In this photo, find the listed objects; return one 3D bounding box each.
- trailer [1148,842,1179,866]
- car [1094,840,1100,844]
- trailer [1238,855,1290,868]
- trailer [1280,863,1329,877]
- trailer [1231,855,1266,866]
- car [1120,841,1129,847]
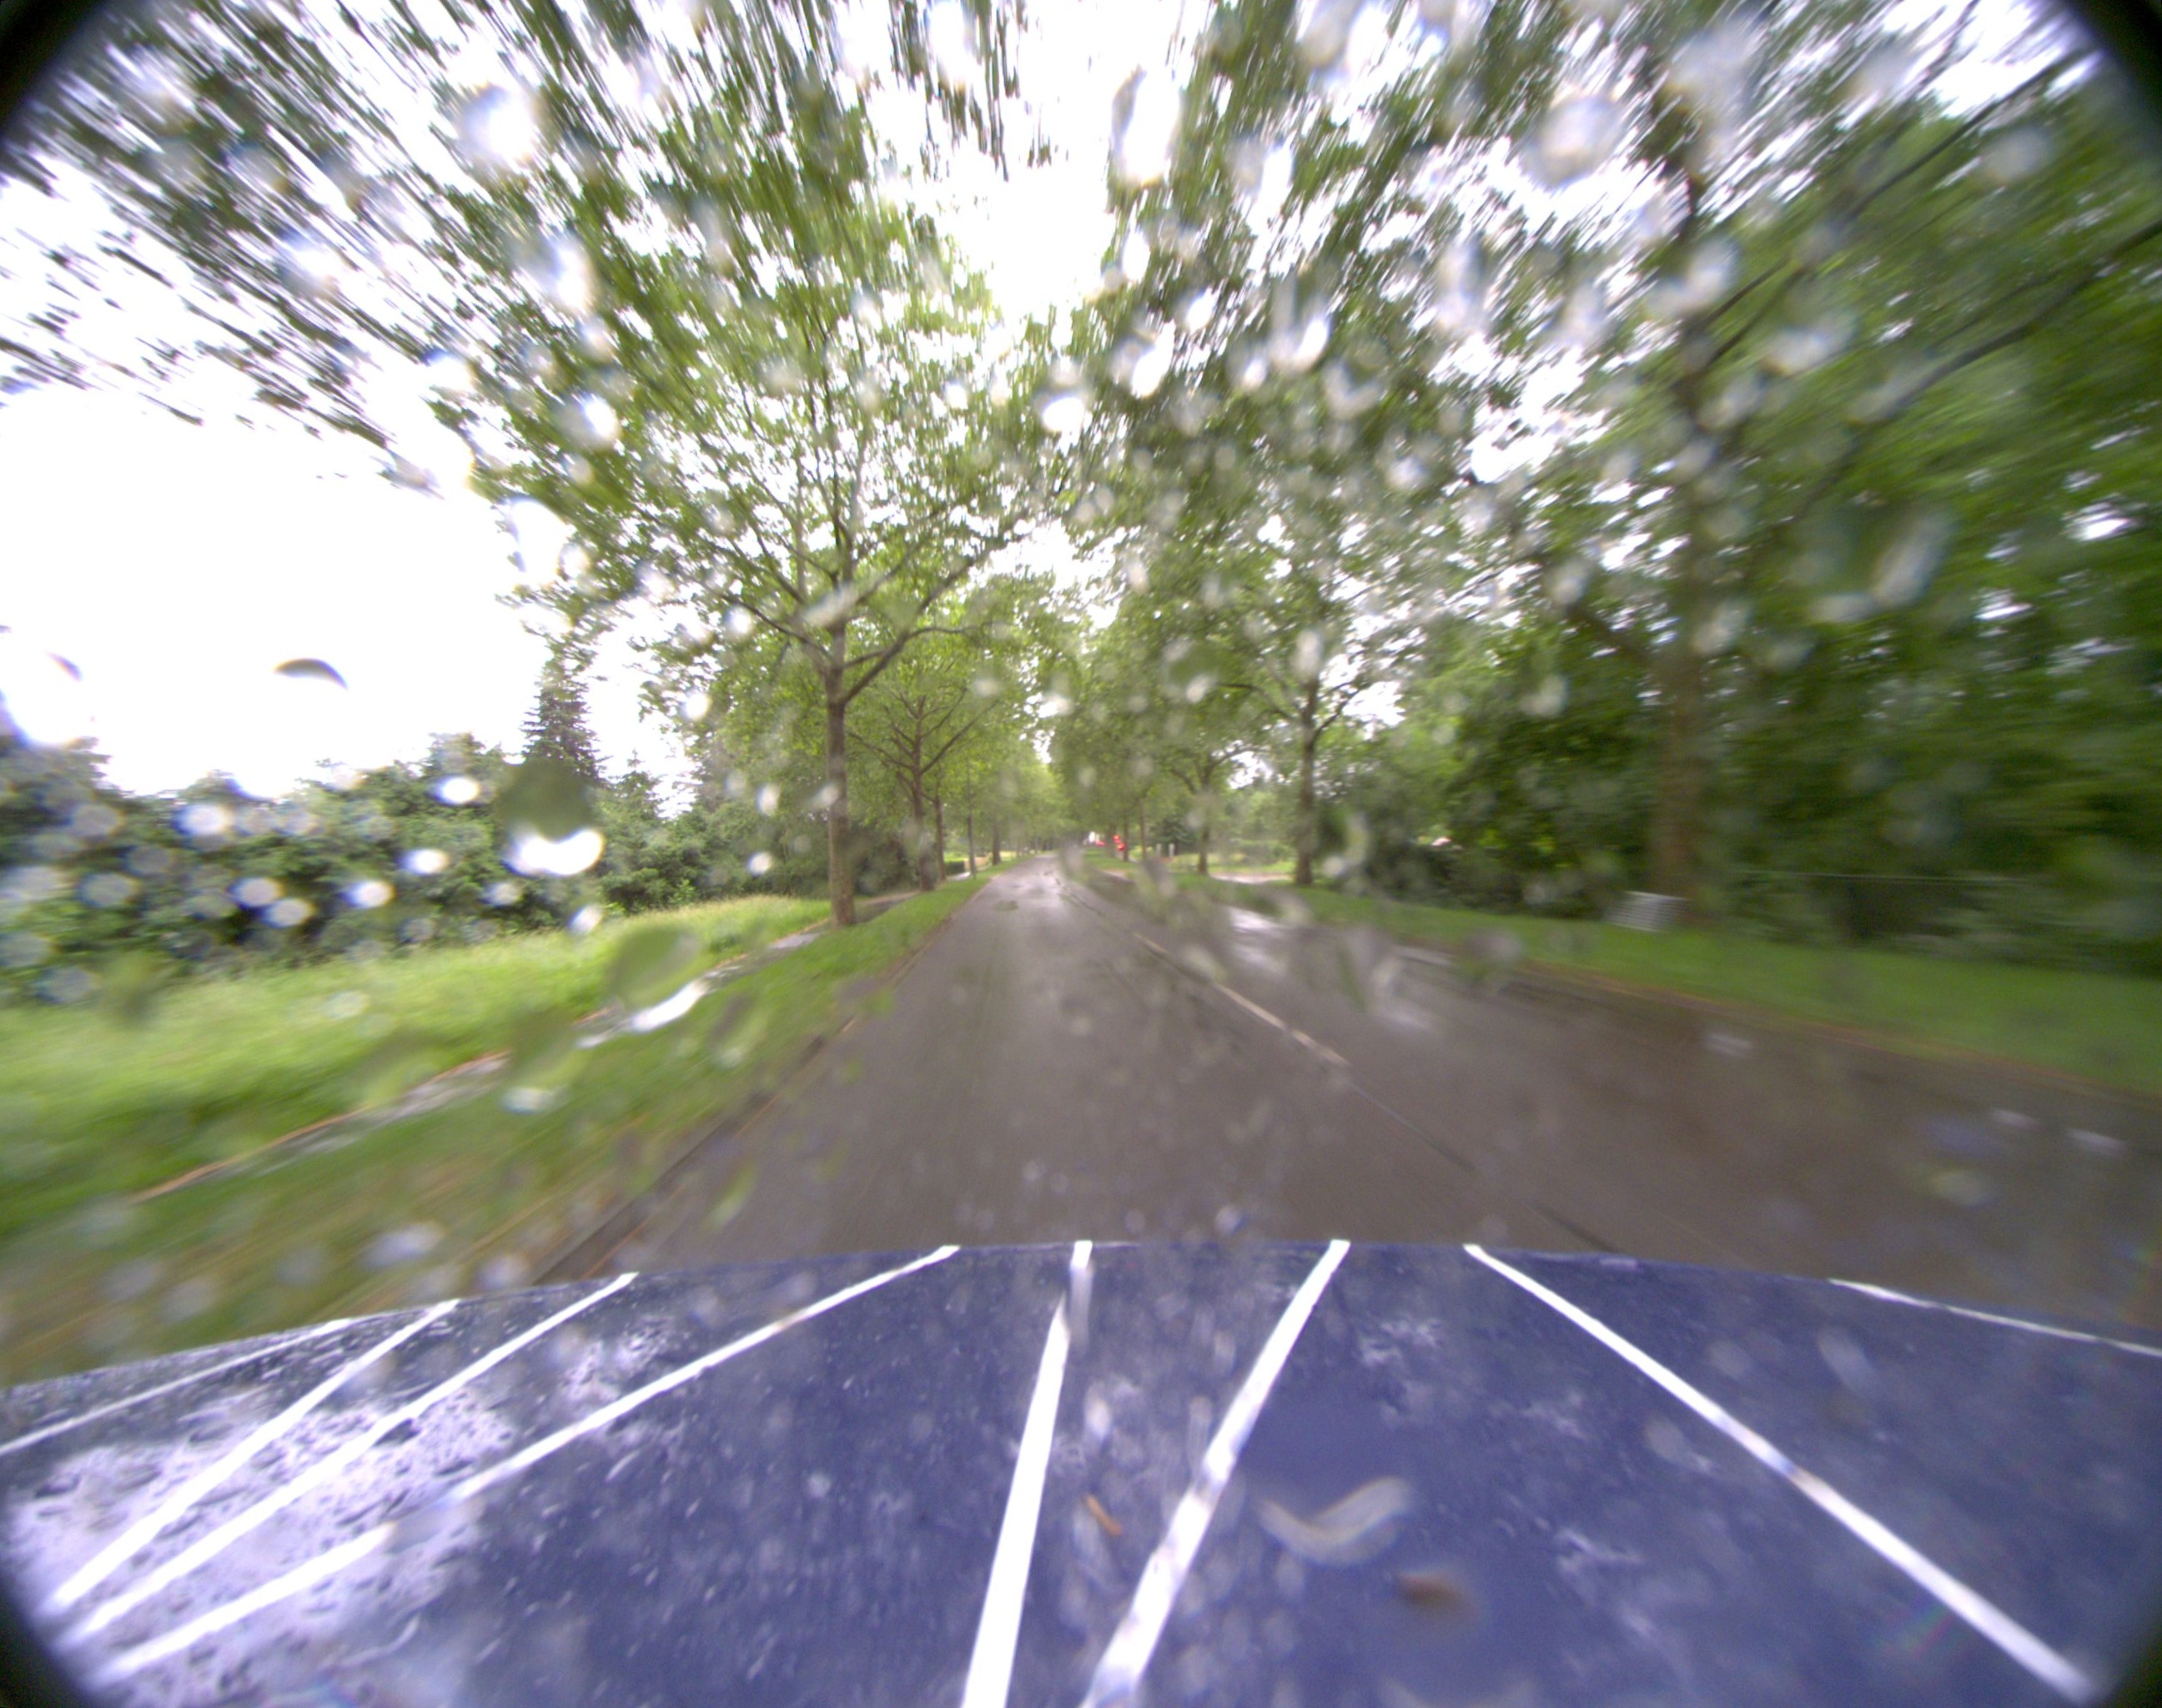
[{"bbox_3d":[9.808,-0.100,90.849,2.805,2.649,6.650,-2,2,0],"label":"trailer"},{"bbox_3d":[5.313,-4.063,253.926,1.594,1.445,3.372,-2,2,-2],"label":"car"},{"bbox_3d":[17.576,0.689,73.077,4.328,1.026,2.381,-2,2,-3],"label":"trailer"},{"bbox_3d":[16.079,1.172,54.784,3.036,0.833,1.677,-2,2,1],"label":"trailer"},{"bbox_3d":[16.821,0.647,76.321,3.083,0.939,1.768,-2,2,-2],"label":"trailer"},{"bbox_3d":[11.957,-2.745,209.882,1.897,1.673,4.003,-1,2,13],"label":"car"}]
